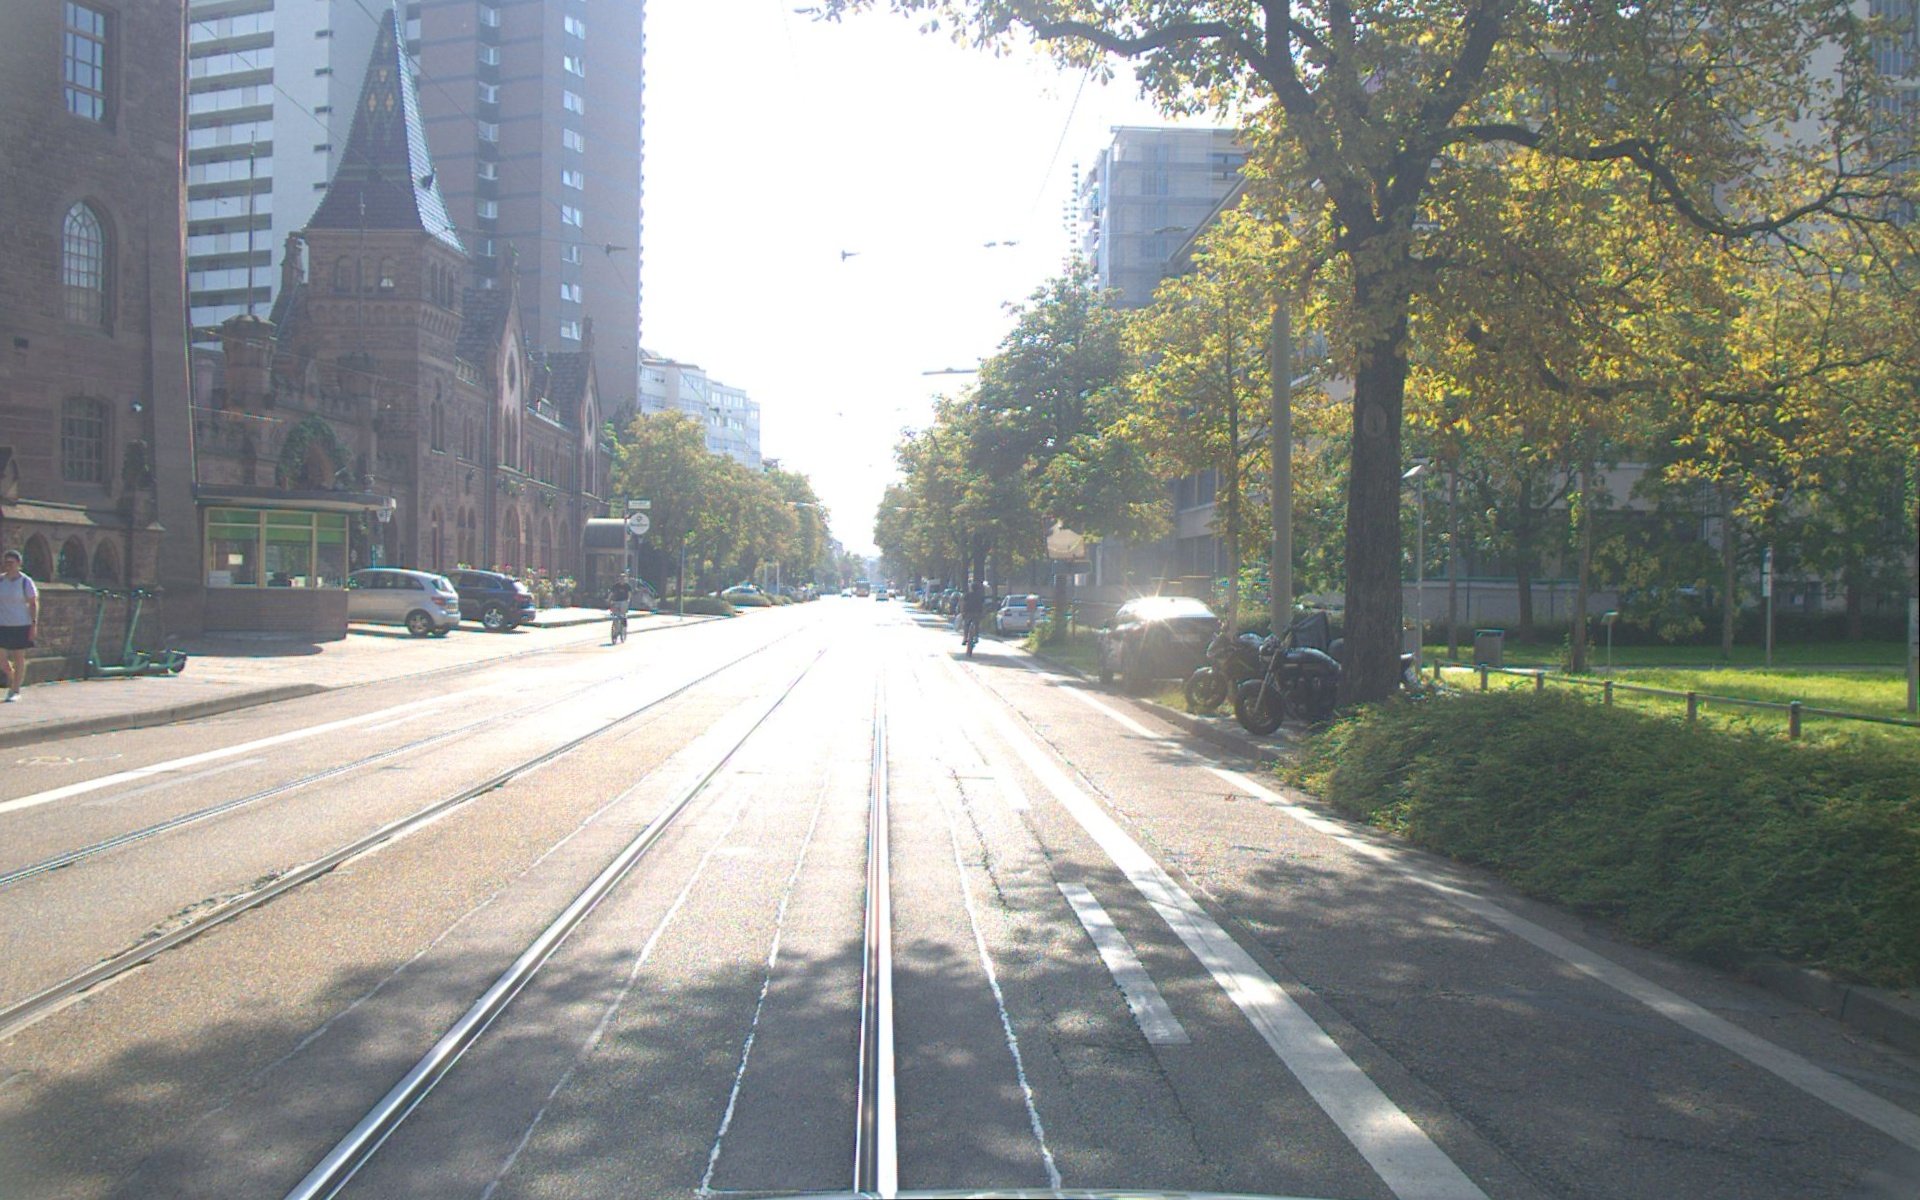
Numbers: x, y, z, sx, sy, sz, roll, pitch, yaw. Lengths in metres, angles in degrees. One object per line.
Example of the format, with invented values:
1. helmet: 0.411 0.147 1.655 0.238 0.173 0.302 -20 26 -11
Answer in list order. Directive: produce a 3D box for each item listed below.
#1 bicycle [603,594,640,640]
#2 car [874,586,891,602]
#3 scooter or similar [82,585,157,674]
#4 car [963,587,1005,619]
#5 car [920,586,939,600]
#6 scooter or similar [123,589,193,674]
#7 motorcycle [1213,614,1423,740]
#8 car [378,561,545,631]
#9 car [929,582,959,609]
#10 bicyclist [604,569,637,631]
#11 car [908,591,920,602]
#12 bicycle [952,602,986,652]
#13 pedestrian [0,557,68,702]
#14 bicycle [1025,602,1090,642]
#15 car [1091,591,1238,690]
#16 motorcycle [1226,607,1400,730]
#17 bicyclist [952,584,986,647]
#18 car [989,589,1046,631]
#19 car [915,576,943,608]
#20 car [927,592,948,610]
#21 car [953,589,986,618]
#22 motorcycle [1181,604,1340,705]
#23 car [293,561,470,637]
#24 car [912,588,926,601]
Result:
1. bicycle: -9.029 0.441 44.162 0.683 1.178 2.036 -2 0 -5
2. car: -9.360 -0.704 199.039 1.953 1.870 3.999 1 0 -2
3. scooter or similar: -11.384 0.401 22.409 0.809 1.168 0.280 4 -2 -40
4. car: 1.103 0.102 77.698 1.613 1.453 4.082 0 1 -4
5. car: -3.039 -0.682 162.600 1.718 1.402 4.716 -1 0 -3
6. scooter or similar: -11.456 0.452 23.640 0.809 1.168 0.280 4 -2 -40
7. motorcycle: 3.812 0.793 17.697 2.025 1.264 0.842 -1 0 36
8. car: -14.632 -0.123 48.749 4.313 1.674 1.954 5 0 -6
9. car: -1.116 -0.324 112.467 1.719 1.721 4.392 1 1 -5
10. bicyclist: -9.058 -0.012 44.171 0.683 1.608 1.086 -2 0 -5
11. car: -5.820 -0.456 209.824 1.562 1.443 3.633 1 0 -2
12. bicycle: 0.207 0.637 40.131 0.771 1.164 2.304 1 0 -1
13. pedestrian: -10.761 0.323 18.907 0.701 1.617 0.774 1 0 -4
14. bicycle: 2.756 0.621 46.880 1.734 1.082 0.795 -1 0 -5
15. car: 3.448 0.641 28.706 1.706 1.512 4.434 -1 1 -4
16. motorcycle: 4.140 0.767 19.551 0.834 1.350 2.045 -1 0 -31
17. bicyclist: 0.216 0.365 40.124 0.771 1.495 1.116 1 0 -1
18. car: 2.017 0.340 59.297 1.608 1.455 3.985 0 0 -4
19. car: -2.707 -0.676 143.695 2.041 2.597 5.497 -3 0 -4
20. car: -1.857 0.049 133.402 1.584 1.398 4.825 0 0 -2
21. car: 0.492 0.174 89.469 1.613 1.537 3.776 -1 0 -2
22. motorcycle: 3.924 0.694 21.611 1.942 1.246 0.646 1 0 22
23. car: -14.949 -0.034 42.874 3.821 1.623 1.822 5 0 -1
24. car: -4.838 -0.635 196.126 1.655 1.443 3.633 1 0 -2
